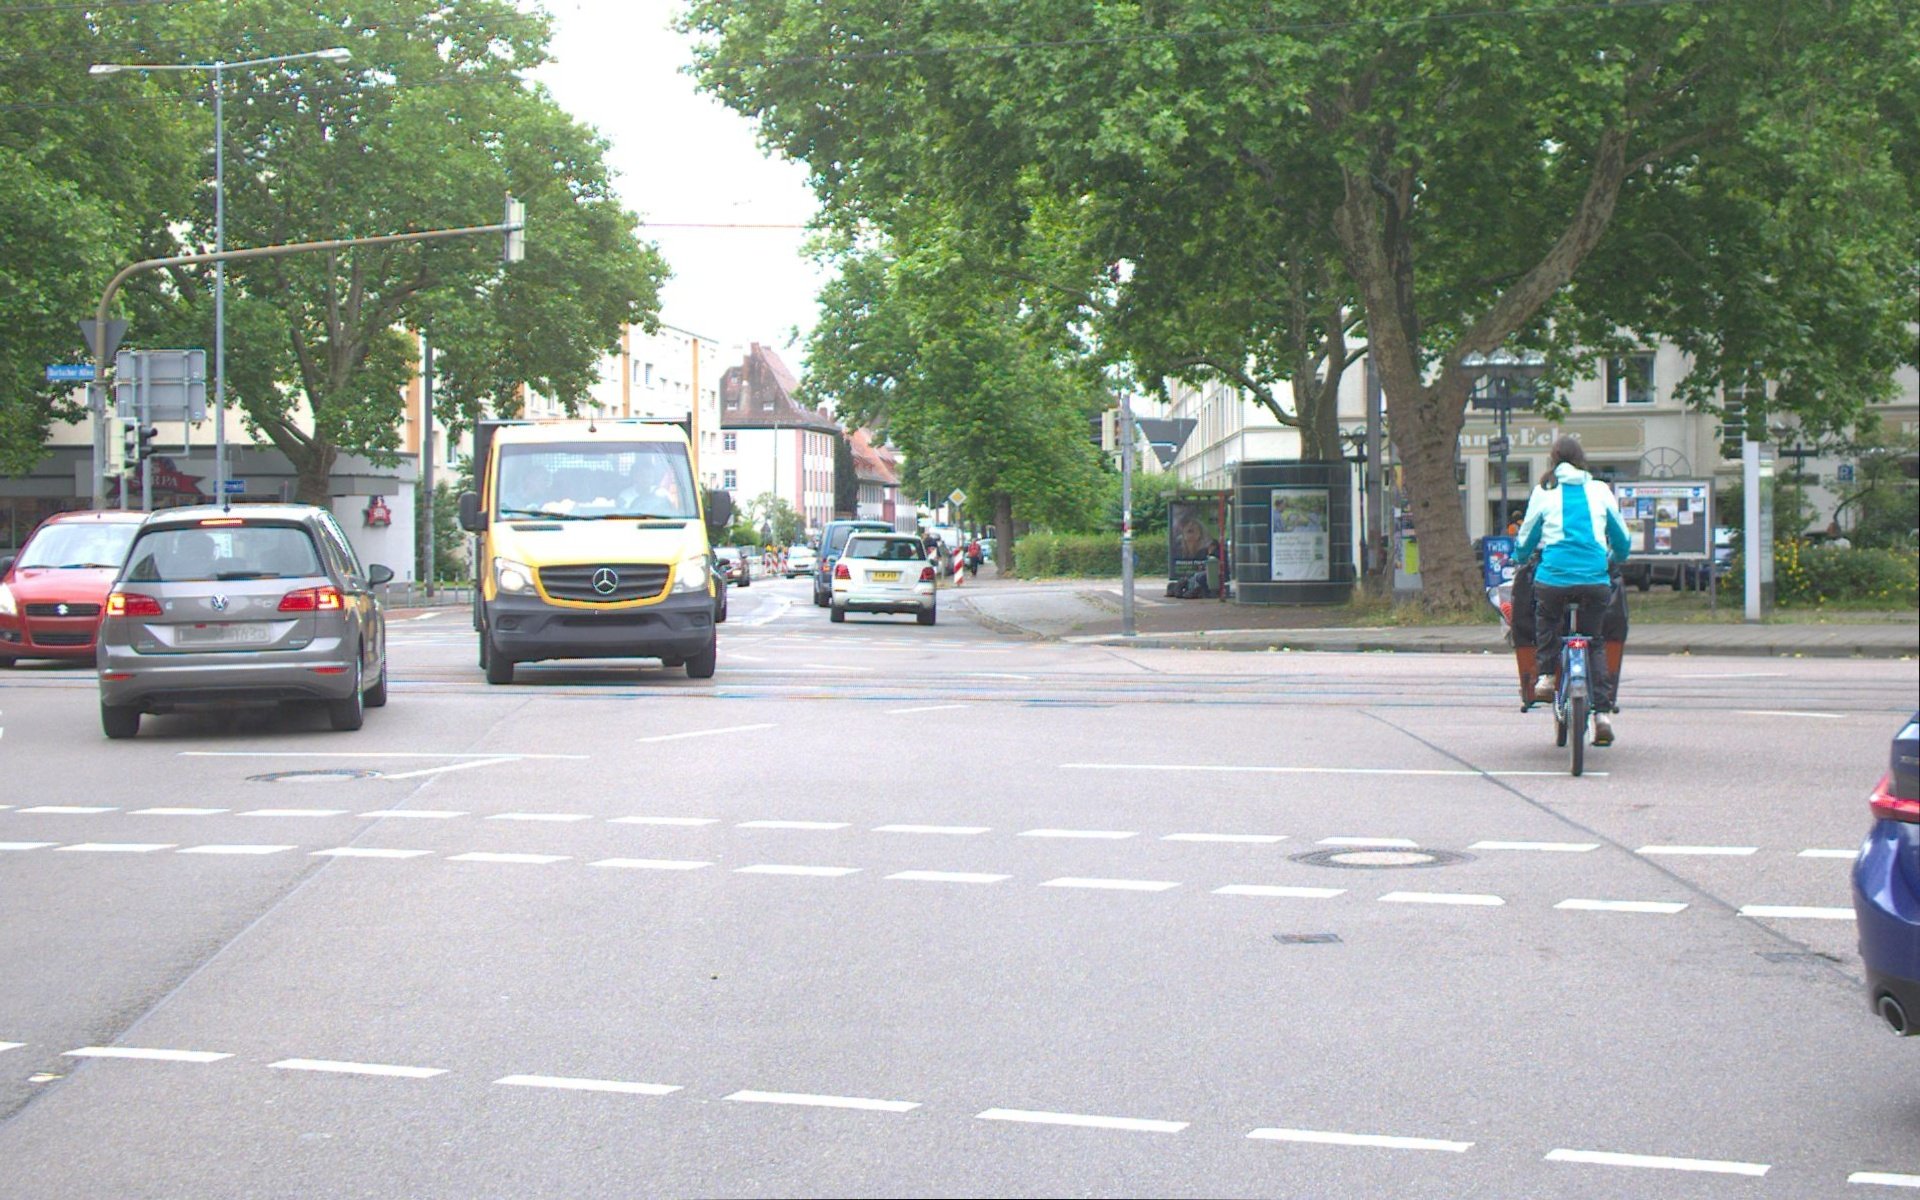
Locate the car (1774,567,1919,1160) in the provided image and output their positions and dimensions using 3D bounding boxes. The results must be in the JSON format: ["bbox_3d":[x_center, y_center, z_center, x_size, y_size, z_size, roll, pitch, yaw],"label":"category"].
[{"bbox_3d":[4.328,0.592,8.965,4.306,1.400,1.821,-1,2,-33],"label":"car"}]

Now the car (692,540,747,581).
[{"bbox_3d":[-8.859,-1.472,126.908,1.853,1.448,4.168,0,1,-2],"label":"car"}]

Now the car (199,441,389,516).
[{"bbox_3d":[-15.834,-2.859,81.736,3.987,1.700,2.000,0,1,-30],"label":"car"}]

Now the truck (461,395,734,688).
[{"bbox_3d":[-3.408,-0.559,31.398,2.074,2.400,5.464,-1,2,-10],"label":"truck"}]

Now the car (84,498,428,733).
[{"bbox_3d":[-4.927,0.055,24.554,1.732,1.519,4.001,-1,1,-2],"label":"car"}]

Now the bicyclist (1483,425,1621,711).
[{"bbox_3d":[3.227,-0.180,18.805,0.686,1.512,1.058,0,1,7],"label":"bicyclist"}]

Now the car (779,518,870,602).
[{"bbox_3d":[-3.130,-0.942,78.764,1.993,1.842,4.001,-1,1,-3],"label":"car"}]

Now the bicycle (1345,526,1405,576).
[{"bbox_3d":[9.772,-1.160,80.888,0.779,1.164,2.330,0,1,24],"label":"bicycle"}]

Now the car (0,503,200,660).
[{"bbox_3d":[-9.000,-0.223,35.497,1.732,1.519,4.001,-1,1,-5],"label":"car"}]

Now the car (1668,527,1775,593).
[{"bbox_3d":[18.284,-0.966,82.455,1.798,1.538,3.822,0,1,24],"label":"car"}]

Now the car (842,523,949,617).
[{"bbox_3d":[-1.172,-0.554,61.001,1.815,1.586,4.001,-1,1,-2],"label":"car"}]

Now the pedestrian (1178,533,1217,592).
[{"bbox_3d":[5.500,-0.867,79.506,0.817,1.367,0.763,-1,1,-2],"label":"pedestrian"}]

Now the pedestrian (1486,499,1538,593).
[{"bbox_3d":[10.376,-1.015,64.657,0.784,1.737,0.925,0,1,-3],"label":"pedestrian"}]

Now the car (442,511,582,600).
[{"bbox_3d":[-9.490,-0.975,73.183,1.867,1.820,5.225,0,1,5],"label":"car"}]

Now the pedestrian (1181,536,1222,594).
[{"bbox_3d":[5.522,-0.810,78.554,0.853,1.310,0.763,-1,1,-2],"label":"pedestrian"}]

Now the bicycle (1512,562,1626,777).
[{"bbox_3d":[3.363,0.354,19.086,0.494,1.094,2.138,0,1,7],"label":"bicycle"}]

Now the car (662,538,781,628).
[{"bbox_3d":[-3.944,-0.319,57.384,1.808,1.422,4.317,-1,1,-2],"label":"car"}]

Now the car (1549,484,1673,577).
[{"bbox_3d":[15.839,-1.676,83.550,2.176,2.193,3.995,0,1,23],"label":"car"}]

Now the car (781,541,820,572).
[{"bbox_3d":[-7.810,-2.141,168.673,1.767,1.481,4.000,-1,1,-1],"label":"car"}]

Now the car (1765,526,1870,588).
[{"bbox_3d":[20.553,-1.036,82.341,1.798,1.435,3.822,0,1,24],"label":"car"}]
